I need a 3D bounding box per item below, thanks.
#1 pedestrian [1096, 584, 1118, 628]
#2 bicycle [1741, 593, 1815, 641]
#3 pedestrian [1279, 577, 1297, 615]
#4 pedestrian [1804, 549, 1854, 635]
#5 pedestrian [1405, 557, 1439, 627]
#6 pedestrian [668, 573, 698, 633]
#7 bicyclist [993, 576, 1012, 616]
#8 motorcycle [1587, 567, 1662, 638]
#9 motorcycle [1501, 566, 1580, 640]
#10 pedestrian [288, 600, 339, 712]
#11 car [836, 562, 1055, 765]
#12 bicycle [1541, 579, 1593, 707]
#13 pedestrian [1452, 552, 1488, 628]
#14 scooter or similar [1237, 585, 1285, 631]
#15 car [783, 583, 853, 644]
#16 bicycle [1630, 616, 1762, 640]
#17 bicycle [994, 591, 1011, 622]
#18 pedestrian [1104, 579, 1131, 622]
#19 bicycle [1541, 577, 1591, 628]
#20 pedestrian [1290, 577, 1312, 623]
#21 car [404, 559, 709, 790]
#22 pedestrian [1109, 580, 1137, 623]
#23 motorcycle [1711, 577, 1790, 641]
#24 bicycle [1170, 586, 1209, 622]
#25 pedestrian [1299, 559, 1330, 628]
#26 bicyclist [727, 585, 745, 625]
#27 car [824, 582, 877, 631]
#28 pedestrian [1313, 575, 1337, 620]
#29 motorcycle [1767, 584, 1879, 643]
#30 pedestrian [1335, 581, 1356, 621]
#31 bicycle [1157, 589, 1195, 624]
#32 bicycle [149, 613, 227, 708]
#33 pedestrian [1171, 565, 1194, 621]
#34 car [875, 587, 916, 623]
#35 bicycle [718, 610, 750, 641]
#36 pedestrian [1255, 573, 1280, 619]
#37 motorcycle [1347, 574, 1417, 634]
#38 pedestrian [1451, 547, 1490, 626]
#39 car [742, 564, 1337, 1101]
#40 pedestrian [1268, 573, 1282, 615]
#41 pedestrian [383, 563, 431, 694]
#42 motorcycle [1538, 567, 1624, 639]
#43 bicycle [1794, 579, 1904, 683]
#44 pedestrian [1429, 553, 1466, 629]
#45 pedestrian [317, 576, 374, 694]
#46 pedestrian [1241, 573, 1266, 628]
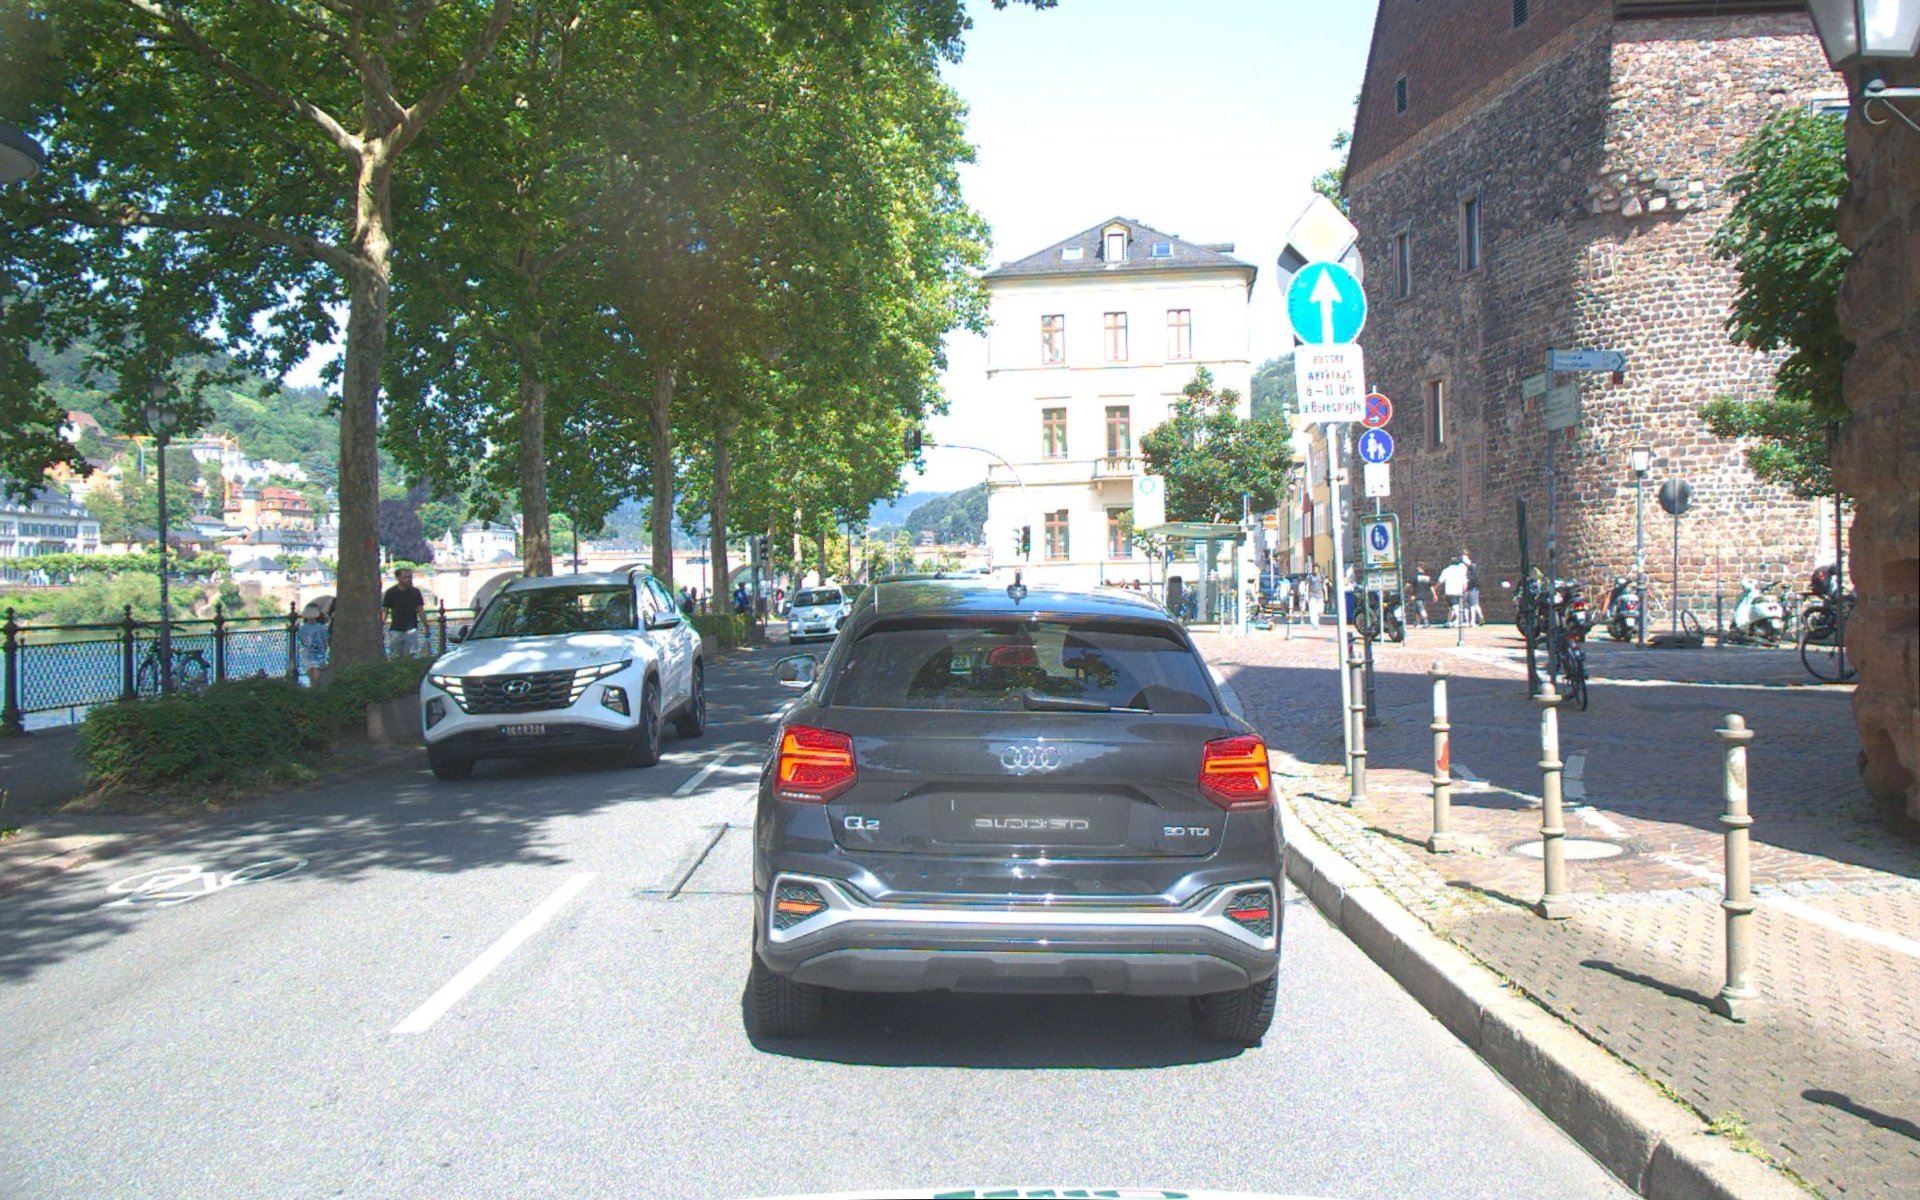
[{"bbox_3d":[5.238,0.219,58.795,0.679,1.526,0.513,1,-1,-5],"label":"pedestrian"},{"bbox_3d":[15.121,0.294,30.615,0.346,0.835,1.926,1,1,-2],"label":"bicycle"},{"bbox_3d":[13.577,-0.168,68.426,0.610,1.558,0.466,1,-1,-3],"label":"pedestrian"},{"bbox_3d":[17.389,-0.159,33.112,0.791,1.691,0.656,-1,0,23],"label":"pedestrian"},{"bbox_3d":[12.129,-0.206,43.441,0.639,1.834,0.847,0,0,-2],"label":"pedestrian"},{"bbox_3d":[-9.660,0.110,57.641,0.891,2.049,0.586,1,-1,3],"label":"pedestrian"},{"bbox_3d":[1.561,-0.135,61.062,0.593,1.475,0.590,1,-1,-6],"label":"bicyclist"},{"bbox_3d":[12.258,0.053,30.579,0.535,1.257,2.030,1,0,-1],"label":"motorcycle"},{"bbox_3d":[10.579,0.057,30.220,0.642,1.288,2.199,0,0,-1],"label":"motorcycle"},{"bbox_3d":[-8.130,0.692,20.809,0.469,1.386,0.417,0,0,3],"label":"pedestrian"},{"bbox_3d":[-0.144,0.502,15.154,1.756,1.623,3.398,1,0,-1],"label":"car"},{"bbox_3d":[6.166,0.400,16.840,0.189,1.225,1.771,0,1,10],"label":"bicycle"},{"bbox_3d":[13.198,-0.252,42.808,0.655,1.954,0.821,1,-1,-2],"label":"pedestrian"},{"bbox_3d":[7.193,0.190,39.500,1.067,1.084,0.323,1,-1,-3],"label":"scooter or similar"},{"bbox_3d":[-4.200,0.369,49.452,1.703,1.599,4.091,-4,1,-1],"label":"car"},{"bbox_3d":[12.309,0.467,27.723,1.887,0.388,0.918,0,-1,14],"label":"bicycle"},{"bbox_3d":[1.550,0.240,61.087,0.428,1.105,1.675,1,0,-5],"label":"bicycle"},{"bbox_3d":[4.667,0.008,48.935,0.651,1.253,0.640,1,-1,-7],"label":"pedestrian"},{"bbox_3d":[14.829,0.067,40.511,0.381,1.230,1.715,1,0,-9],"label":"bicycle"},{"bbox_3d":[15.528,0.012,75.247,0.822,2.049,0.738,1,-1,-1],"label":"pedestrian"},{"bbox_3d":[-3.444,0.567,14.875,1.733,1.689,3.999,-3,0,-1],"label":"car"},{"bbox_3d":[4.747,0.032,48.186,0.651,1.233,0.640,1,-1,-7],"label":"pedestrian"},{"bbox_3d":[14.096,0.158,29.523,0.496,1.092,1.839,1,0,-1],"label":"motorcycle"},{"bbox_3d":[6.816,0.127,49.079,1.184,1.053,0.178,1,-1,-20],"label":"bicycle"},{"bbox_3d":[10.096,-0.188,47.126,0.732,1.923,0.752,1,-1,1],"label":"pedestrian"},{"bbox_3d":[-7.547,0.167,55.693,0.555,1.334,0.551,1,-1,-5],"label":"bicyclist"},{"bbox_3d":[-4.439,0.243,67.846,1.777,1.754,4.421,-6,1,-1],"label":"car"},{"bbox_3d":[16.613,-0.107,75.318,0.921,2.049,0.807,1,-1,-1],"label":"pedestrian"},{"bbox_3d":[16.337,0.252,31.334,1.826,1.072,0.480,1,-1,7],"label":"motorcycle"},{"bbox_3d":[16.277,0.043,69.793,0.677,1.640,0.891,-2,1,22],"label":"pedestrian"},{"bbox_3d":[6.495,0.197,49.679,1.166,1.033,0.178,1,-1,-20],"label":"bicycle"},{"bbox_3d":[-9.534,0.729,20.455,0.352,1.110,1.295,2,0,-2],"label":"bicycle"},{"bbox_3d":[8.233,-0.245,61.160,0.626,2.049,0.665,1,-1,29],"label":"pedestrian"},{"bbox_3d":[-3.357,0.256,86.965,1.952,1.838,4.000,1,0,1],"label":"car"},{"bbox_3d":[-7.610,0.855,55.706,1.072,1.024,0.303,1,-1,-8],"label":"bicycle"},{"bbox_3d":[13.813,-0.166,74.284,0.925,2.049,0.807,1,-1,-1],"label":"pedestrian"},{"bbox_3d":[7.683,0.058,30.238,0.555,1.030,2.489,-1,1,-2],"label":"motorcycle"},{"bbox_3d":[13.516,-0.344,43.802,0.715,2.049,0.878,1,-1,-1],"label":"pedestrian"},{"bbox_3d":[0.207,0.658,6.634,1.707,1.535,3.646,1,1,-1],"label":"car"},{"bbox_3d":[13.037,-0.242,68.377,0.440,1.710,0.466,1,-1,-4],"label":"pedestrian"},{"bbox_3d":[-8.248,0.423,24.673,0.523,1.920,0.436,1,0,-1],"label":"pedestrian"},{"bbox_3d":[11.393,0.062,30.426,0.661,1.257,2.312,1,0,-1],"label":"motorcycle"},{"bbox_3d":[10.603,0.345,19.779,0.437,1.182,1.731,-1,1,3],"label":"bicycle"},{"bbox_3d":[12.450,-0.218,42.271,0.655,1.917,0.821,1,-1,-2],"label":"pedestrian"},{"bbox_3d":[-9.054,0.505,24.384,0.589,1.715,0.583,-1,0,-2],"label":"pedestrian"},{"bbox_3d":[7.592,0.015,42.800,0.546,1.409,0.588,1,-1,1],"label":"pedestrian"}]
